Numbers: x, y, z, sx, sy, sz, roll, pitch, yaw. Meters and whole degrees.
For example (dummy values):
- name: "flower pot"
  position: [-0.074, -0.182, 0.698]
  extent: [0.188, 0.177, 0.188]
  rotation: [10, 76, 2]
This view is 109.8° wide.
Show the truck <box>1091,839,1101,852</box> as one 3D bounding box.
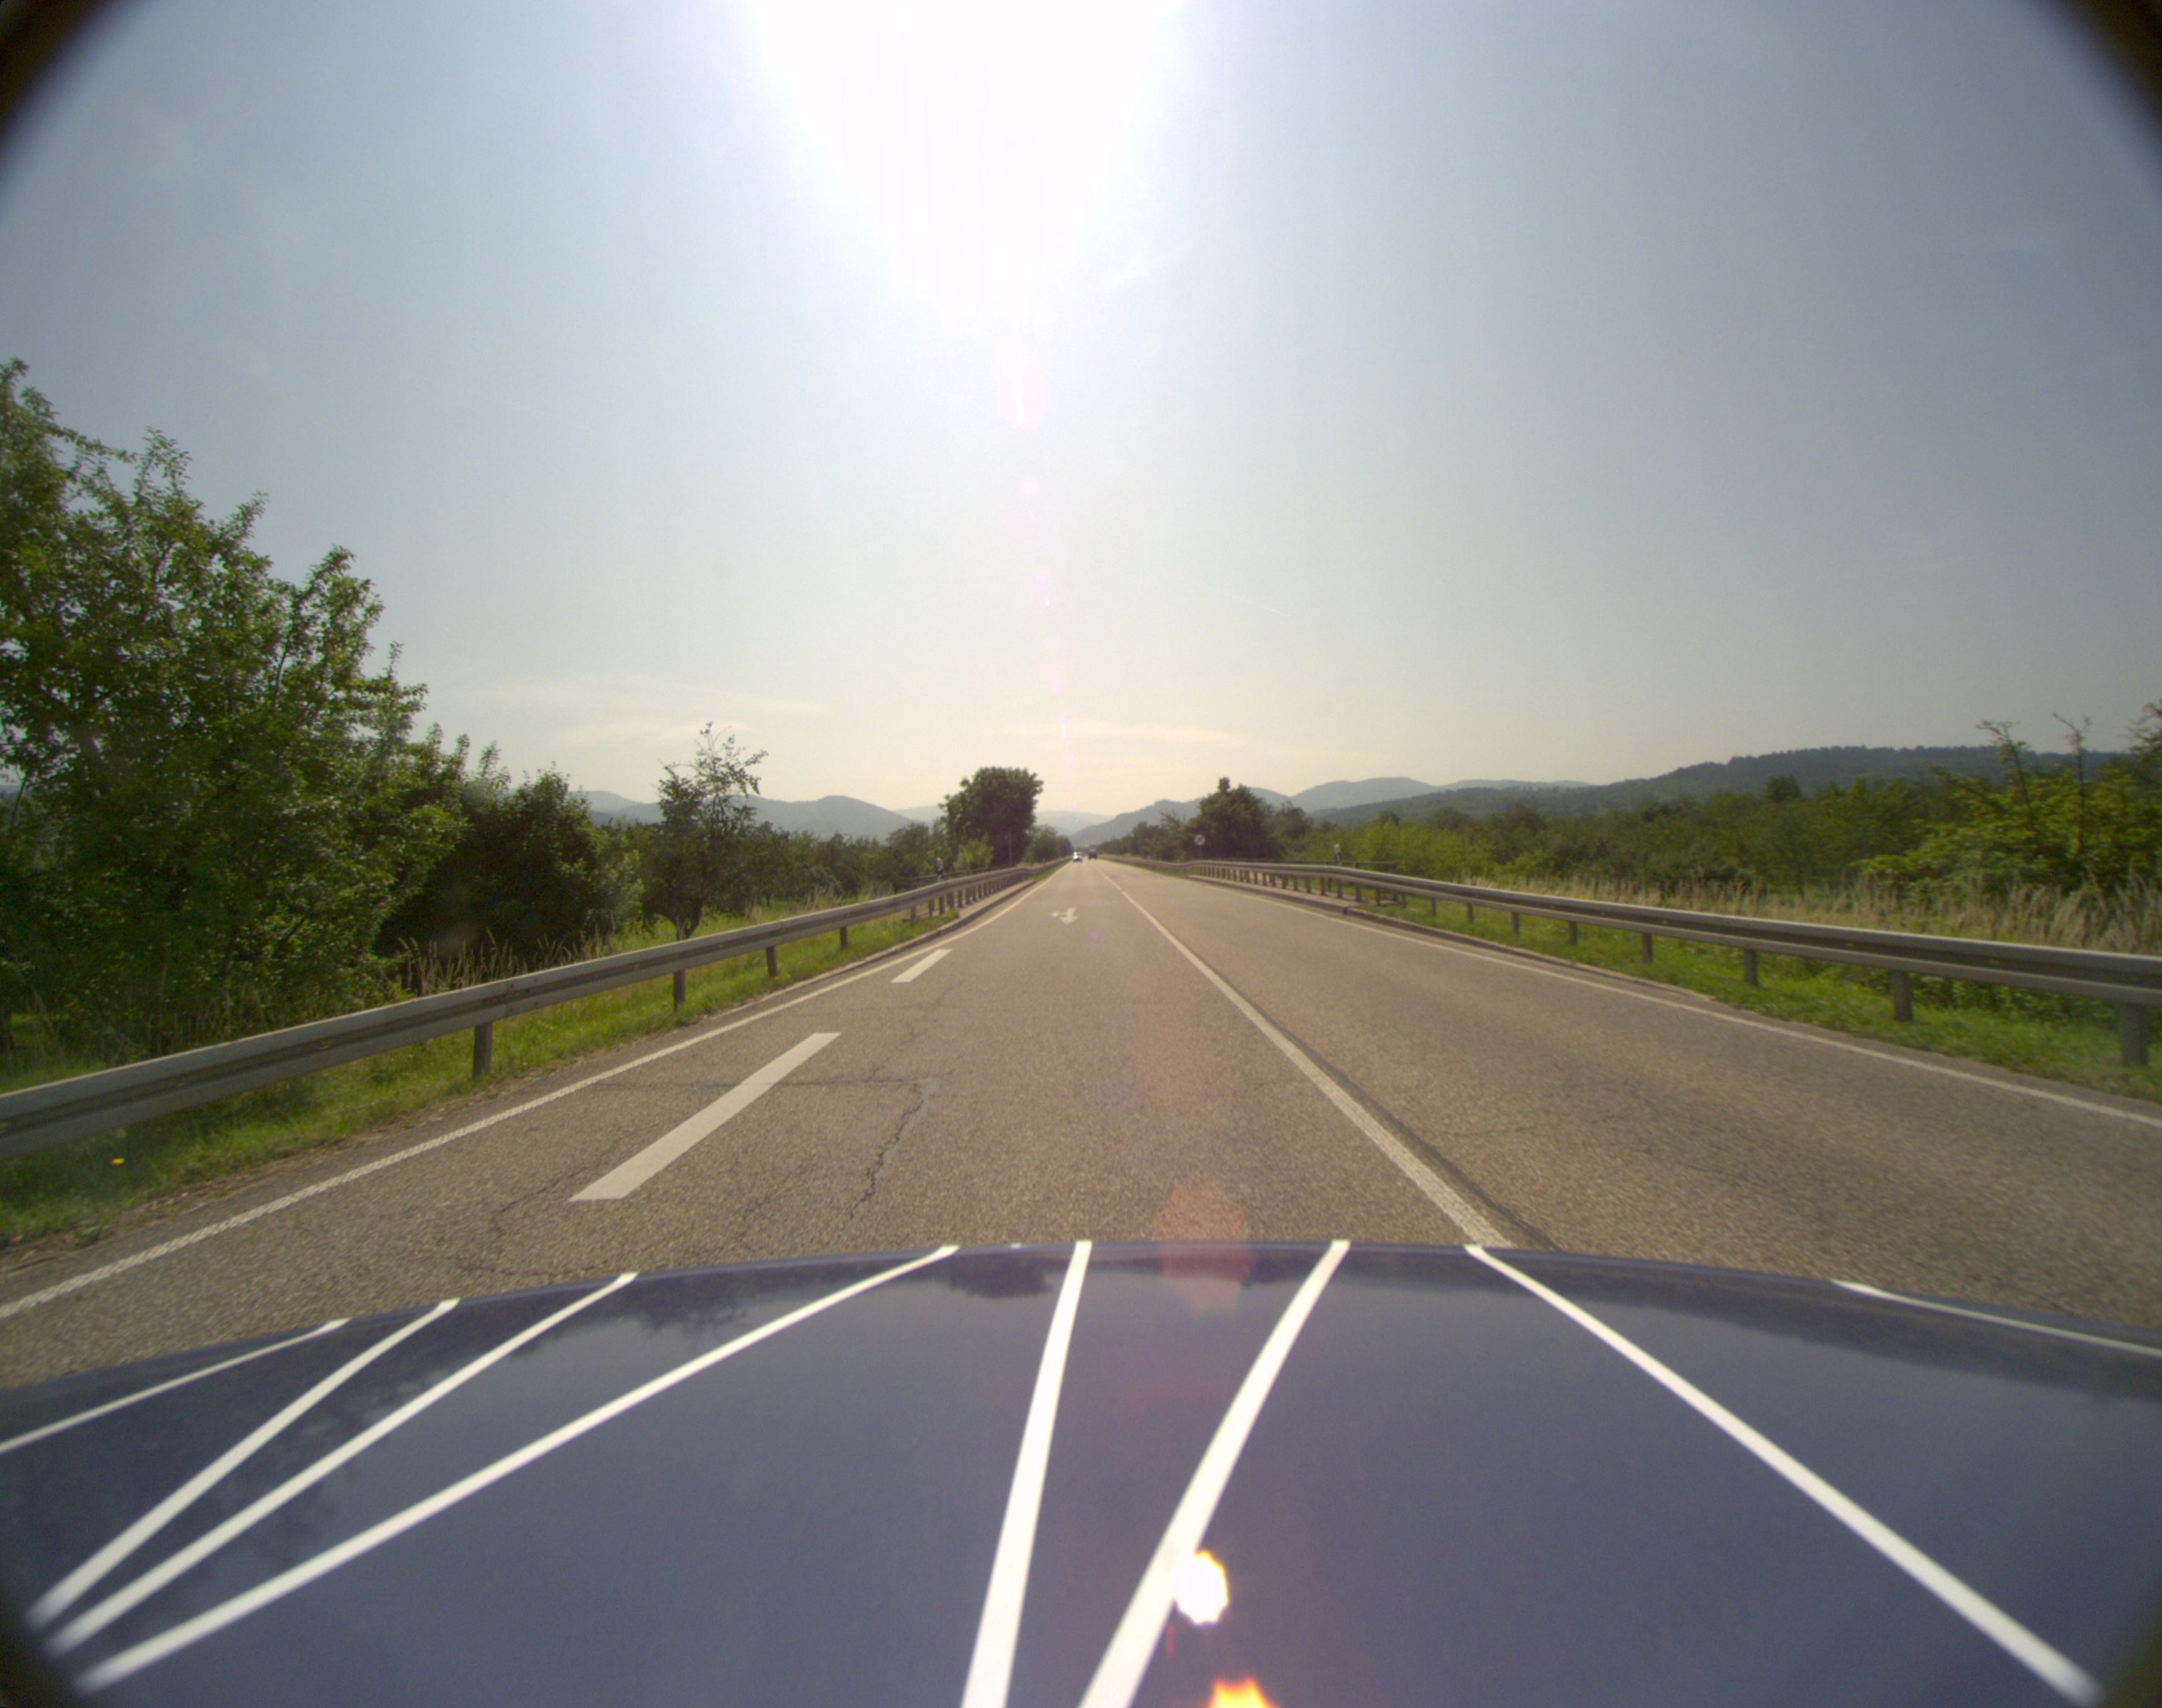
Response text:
- name: "truck"
  position: [4.320, -2.487, 225.434]
  extent: [2.735, 3.651, 9.381]
  rotation: [-2, 1, 0]

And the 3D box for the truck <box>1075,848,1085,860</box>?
- name: "truck"
  position: [-0.195, -0.016, 152.036]
  extent: [2.032, 2.233, 4.764]
  rotation: [-2, 1, 0]
